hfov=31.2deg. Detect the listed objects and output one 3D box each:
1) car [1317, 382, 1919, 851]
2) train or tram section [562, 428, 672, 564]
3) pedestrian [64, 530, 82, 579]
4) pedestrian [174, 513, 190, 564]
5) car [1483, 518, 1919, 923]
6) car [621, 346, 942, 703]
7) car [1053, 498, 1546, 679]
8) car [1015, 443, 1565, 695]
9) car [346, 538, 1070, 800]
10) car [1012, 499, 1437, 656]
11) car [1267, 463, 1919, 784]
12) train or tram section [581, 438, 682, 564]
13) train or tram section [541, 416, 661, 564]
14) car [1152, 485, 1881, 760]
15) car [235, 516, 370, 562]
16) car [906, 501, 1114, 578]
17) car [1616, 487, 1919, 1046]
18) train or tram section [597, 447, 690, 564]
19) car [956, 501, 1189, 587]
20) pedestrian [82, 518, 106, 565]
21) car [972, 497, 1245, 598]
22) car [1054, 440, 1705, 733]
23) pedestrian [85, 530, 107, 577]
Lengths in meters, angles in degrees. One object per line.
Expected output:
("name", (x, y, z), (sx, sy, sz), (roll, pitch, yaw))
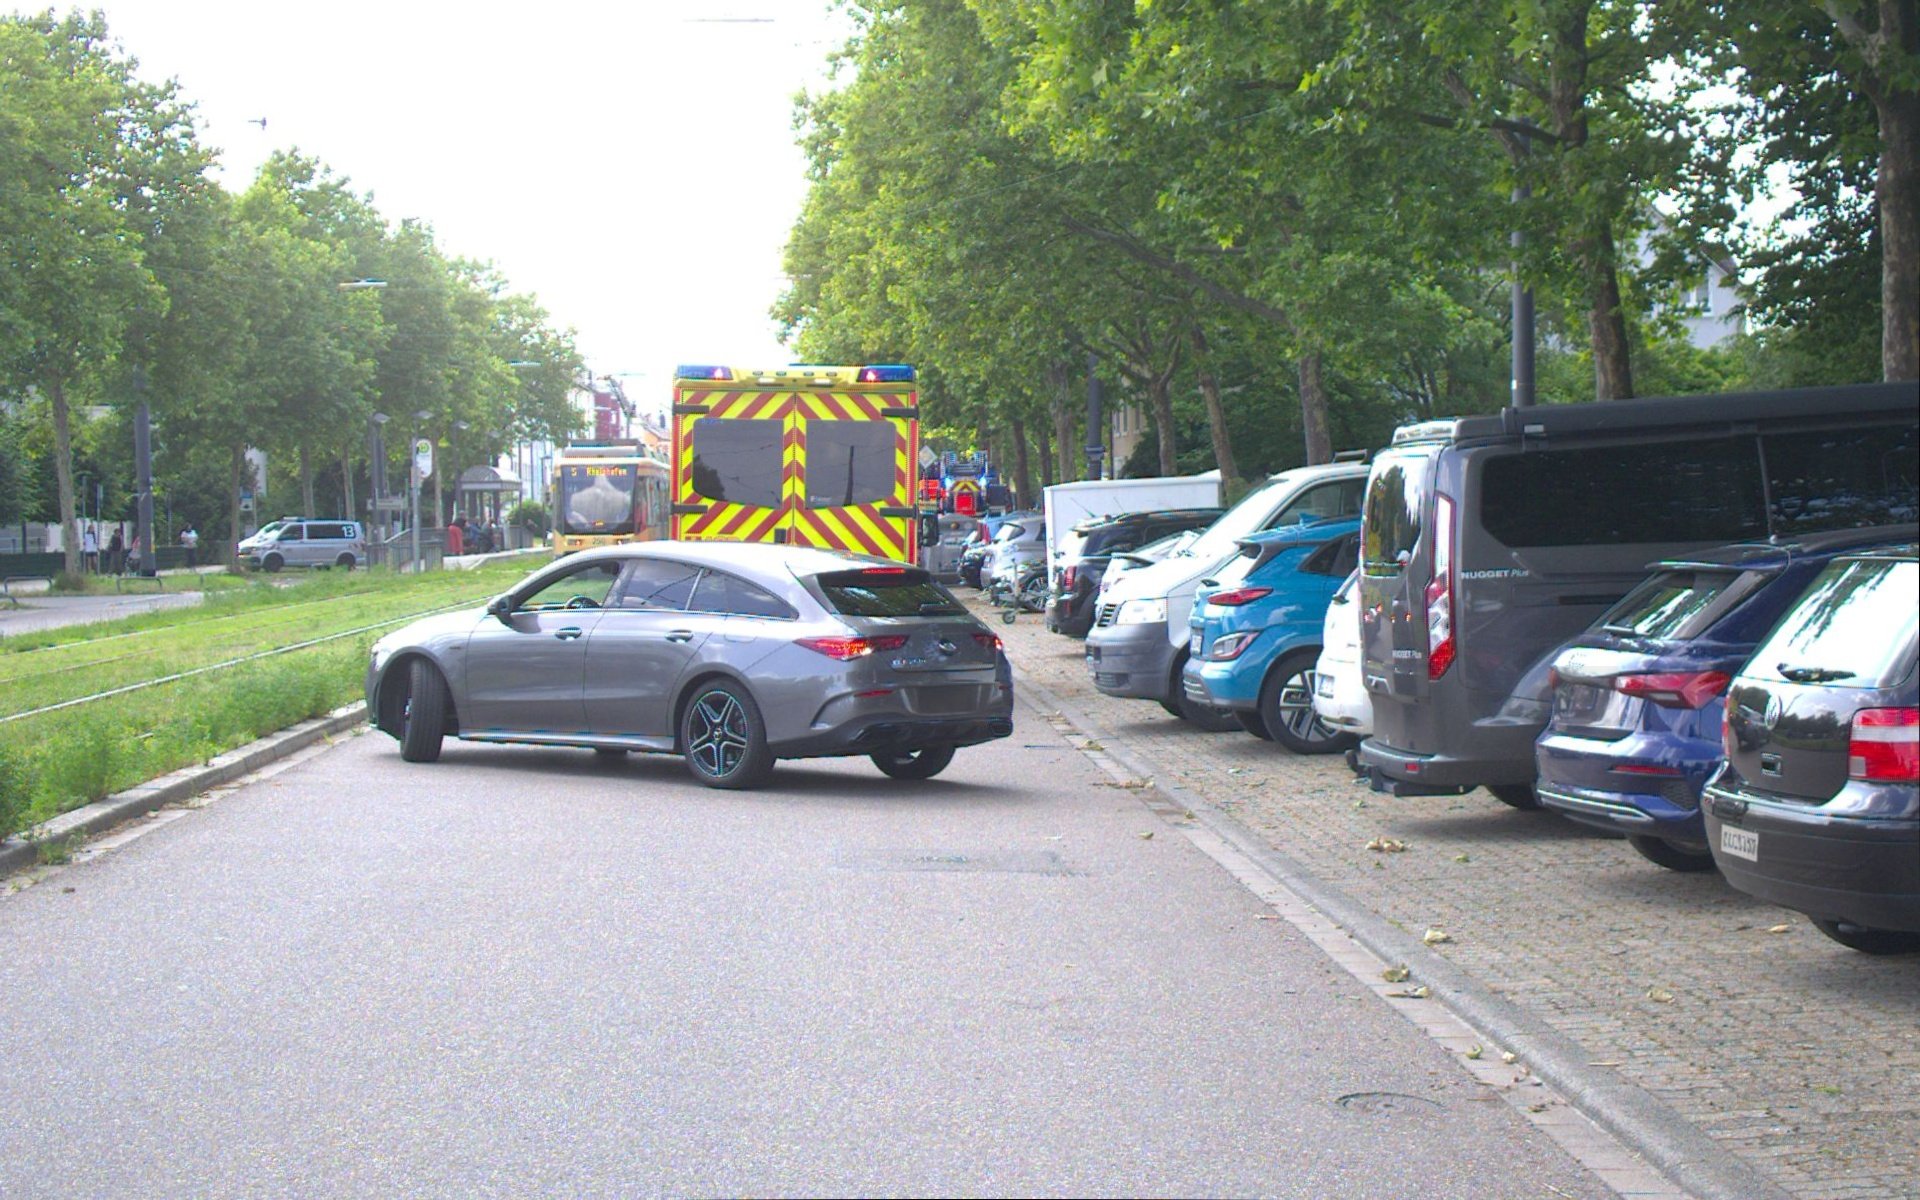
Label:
("car", (4.201, 0.022, 17.072), (4.545, 2.116, 1.856), (-2, 1, -2))
("train or tram section", (-9.534, -2.847, 96.220), (2.511, 3.572, 7.446), (-2, 1, -2))
("pedestrian", (-26.480, -1.364, 102.641), (0.421, 1.468, 0.467), (-1, 1, -7))
("pedestrian", (-27.964, -2.195, 123.628), (0.466, 1.822, 0.423), (-1, 1, -4))
("car", (4.278, 0.400, 13.937), (3.965, 1.489, 1.756), (-2, 1, -2))
("car", (-1.557, -0.708, 32.521), (2.641, 2.956, 6.300), (2, 1, -1))
("car", (3.323, -0.135, 34.117), (4.545, 1.603, 1.856), (-2, 1, -6))
("car", (2.889, -0.293, 30.627), (4.545, 2.036, 1.856), (-2, 1, -6))
("car", (-1.634, 0.351, 21.180), (4.464, 1.381, 1.762), (2, 2, 40))
("car", (2.978, -0.277, 39.266), (4.545, 1.603, 1.856), (-2, 1, -6))
("car", (4.282, 0.097, 21.003), (4.545, 1.760, 1.856), (-2, 1, -2))
("train or tram section", (-9.855, -2.922, 103.660), (2.511, 3.572, 7.446), (-2, 1, -2))
("train or tram section", (-9.205, -2.772, 88.794), (2.511, 3.572, 7.446), (-2, 1, -2))
("car", (3.738, 0.118, 23.523), (4.545, 1.654, 1.856), (-2, 1, -6))
("car", (-24.661, -2.290, 128.997), (4.615, 1.627, 1.882), (-2, 2, -41))
("car", (1.125, -1.388, 78.866), (4.545, 1.603, 1.856), (-2, 1, -6))
("car", (4.350, 0.396, 11.121), (3.964, 1.600, 1.757), (-2, 1, -12))
("train or tram section", (-10.168, -2.997, 111.097), (2.511, 3.572, 7.446), (-2, 1, -2))
("car", (2.287, -1.161, 70.662), (4.545, 1.603, 1.856), (-2, 1, -6))
("pedestrian", (-28.218, -1.908, 112.047), (0.632, 1.545, 0.622), (-1, 1, -5))
("car", (2.600, -0.936, 60.817), (4.545, 1.603, 1.856), (-2, 1, -6))
("car", (3.111, -0.125, 26.039), (4.545, 1.994, 1.856), (-2, 1, -6))
("pedestrian", (-26.278, -1.422, 104.524), (0.422, 1.409, 0.467), (-1, 1, 23))
